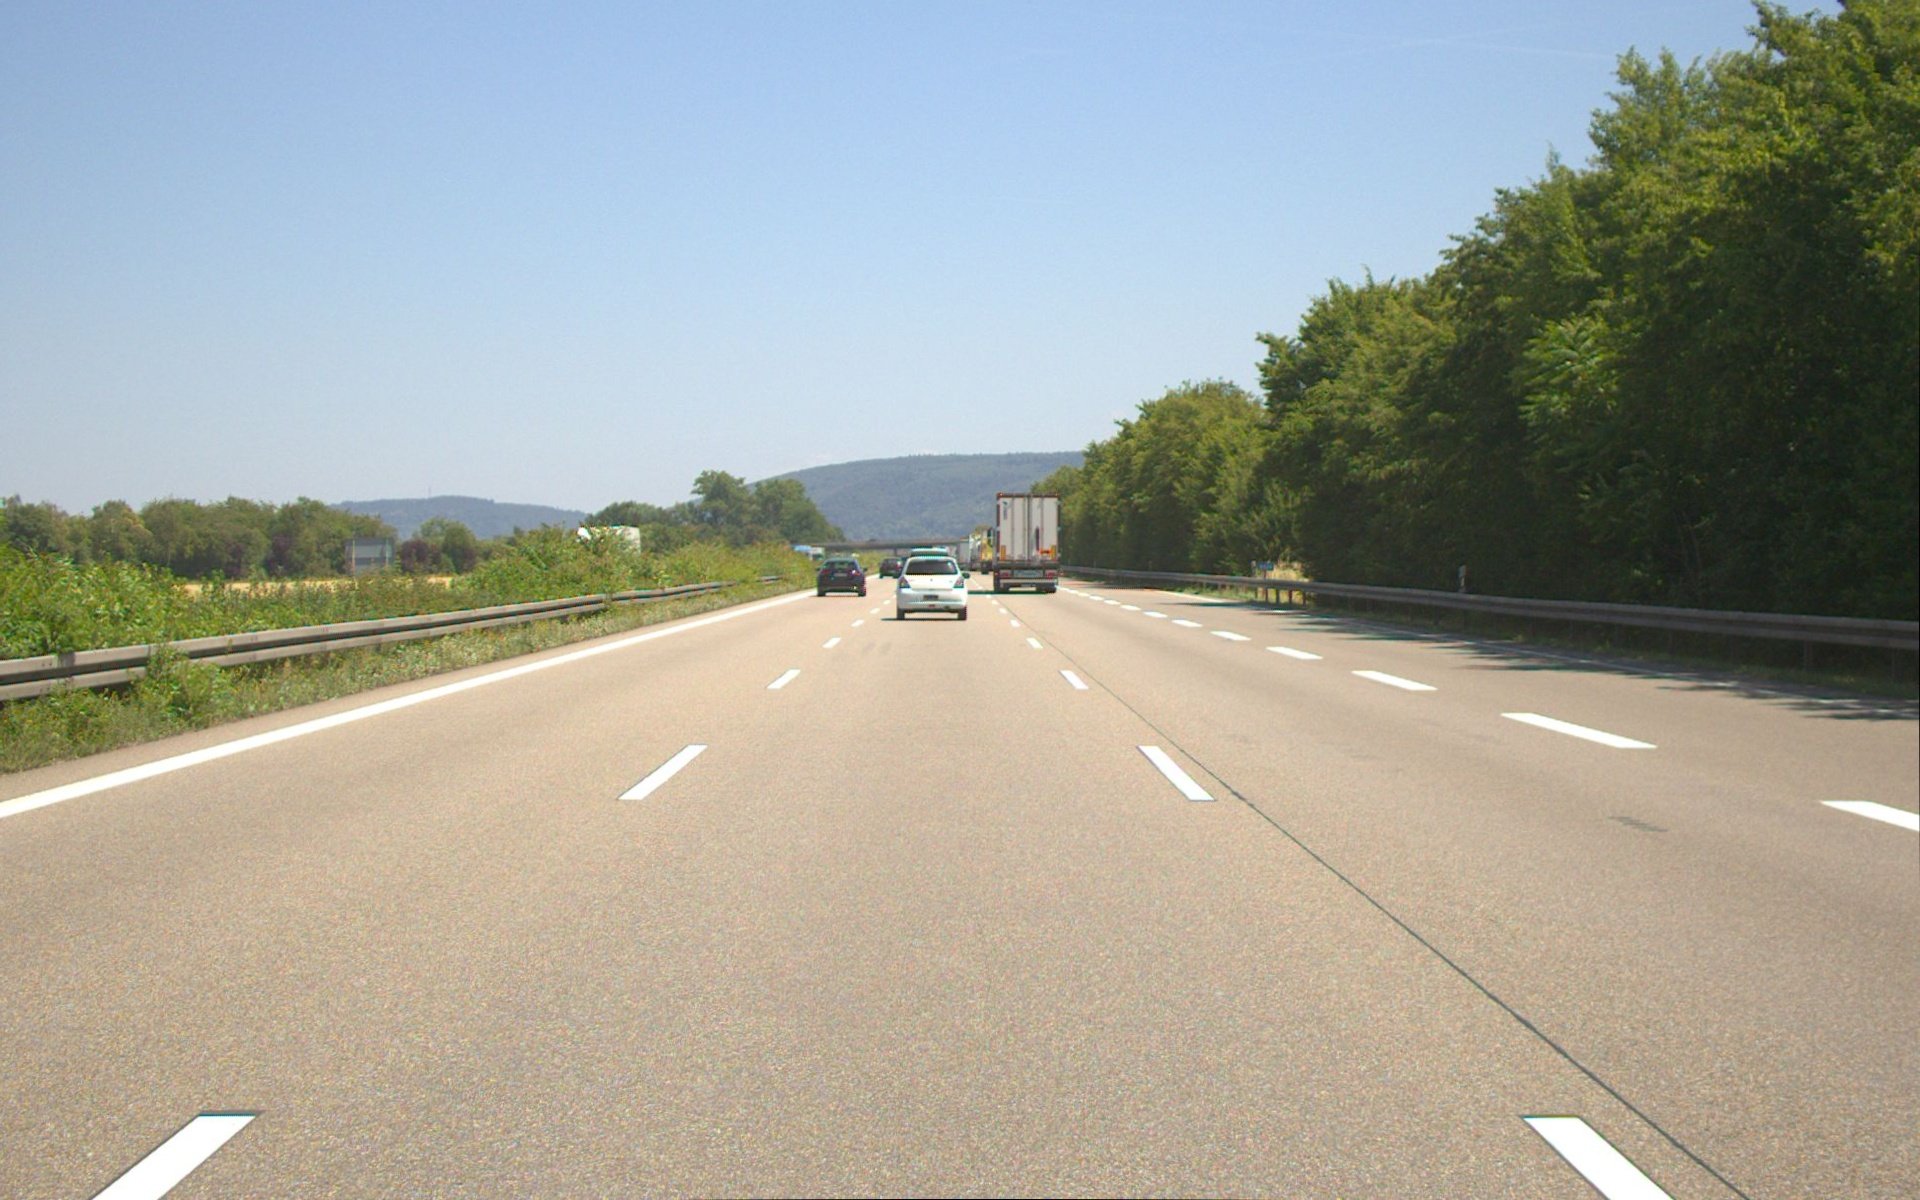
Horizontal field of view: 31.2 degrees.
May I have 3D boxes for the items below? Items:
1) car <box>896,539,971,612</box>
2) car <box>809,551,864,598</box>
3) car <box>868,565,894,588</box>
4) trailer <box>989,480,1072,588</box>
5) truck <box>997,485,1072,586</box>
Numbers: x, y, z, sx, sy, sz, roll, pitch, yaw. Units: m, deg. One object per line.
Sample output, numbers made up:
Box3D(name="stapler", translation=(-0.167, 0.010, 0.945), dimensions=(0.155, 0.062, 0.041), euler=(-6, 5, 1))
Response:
Box3D(name="car", translation=(-0.656, -0.611, 82.541), dimensions=(1.732, 1.678, 4.000), euler=(-1, 1, -1))
Box3D(name="car", translation=(-4.668, -0.974, 130.334), dimensions=(1.993, 1.706, 4.000), euler=(1, 1, -1))
Box3D(name="car", translation=(-5.494, -1.626, 239.751), dimensions=(1.795, 1.545, 4.000), euler=(0, 0, 0))
Box3D(name="trailer", translation=(3.071, -2.761, 145.615), dimensions=(3.218, 4.330, 13.628), euler=(1, 1, 2))
Box3D(name="truck", translation=(3.353, -2.852, 153.202), dimensions=(3.218, 4.330, 6.590), euler=(1, 1, 2))
